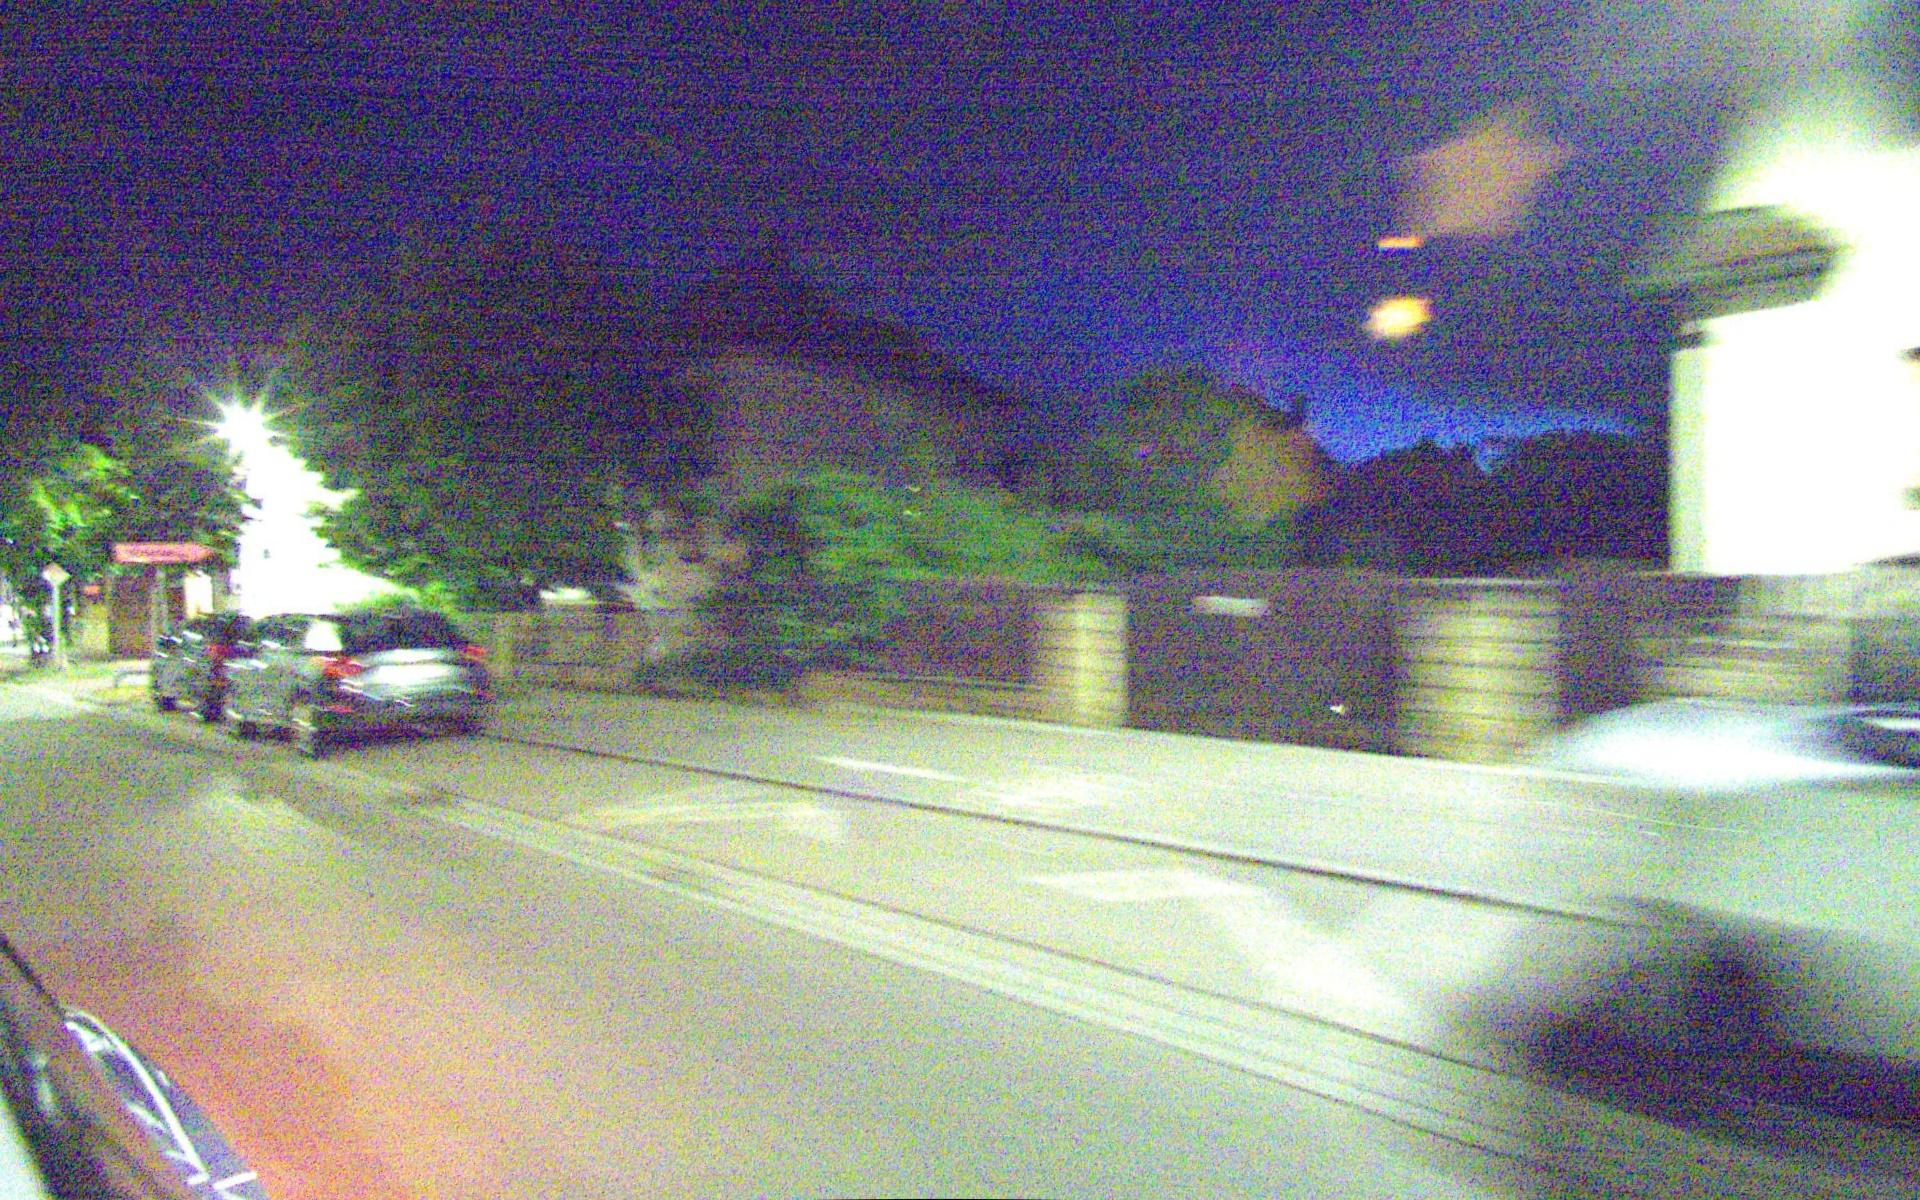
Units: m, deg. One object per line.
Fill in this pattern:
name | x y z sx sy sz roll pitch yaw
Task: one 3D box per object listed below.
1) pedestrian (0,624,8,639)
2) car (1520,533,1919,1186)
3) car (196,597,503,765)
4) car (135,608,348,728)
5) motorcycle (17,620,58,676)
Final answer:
pedestrian | -104.445 3.412 110.543 0.665 1.600 0.523 -1 -1 37
car | 3.285 0.565 2.583 2.976 1.533 1.655 -1 2 40
car | -7.115 0.800 11.611 4.276 1.530 1.748 -1 1 41
car | -10.828 0.928 15.138 4.277 1.522 1.670 -1 0 42
motorcycle | -25.185 1.287 27.652 0.737 1.463 2.199 -1 -1 -41
